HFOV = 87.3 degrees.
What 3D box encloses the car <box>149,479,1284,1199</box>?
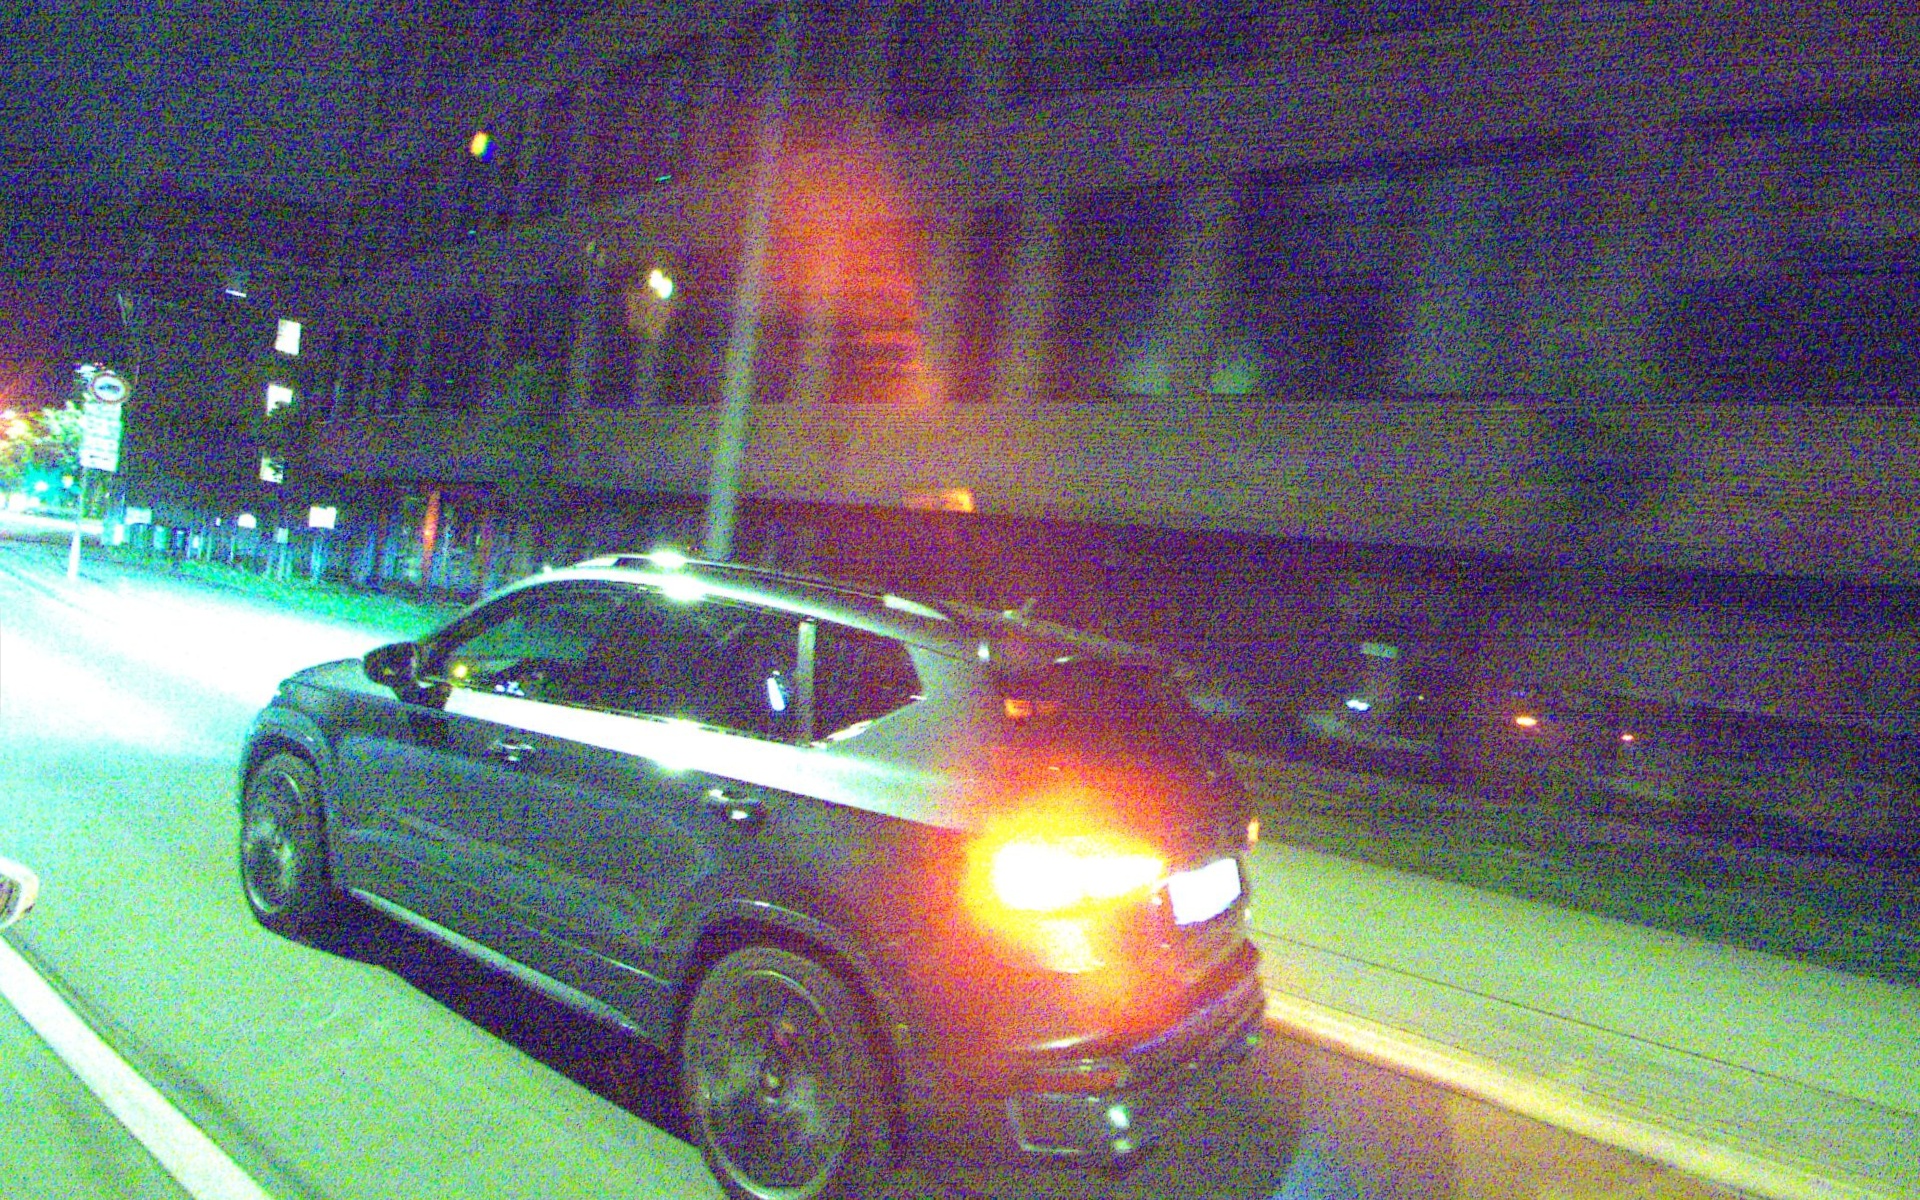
[{"bbox_3d":[-1.162,0.575,3.869,4.160,1.628,1.673,6,-2,33],"label":"car"}]
